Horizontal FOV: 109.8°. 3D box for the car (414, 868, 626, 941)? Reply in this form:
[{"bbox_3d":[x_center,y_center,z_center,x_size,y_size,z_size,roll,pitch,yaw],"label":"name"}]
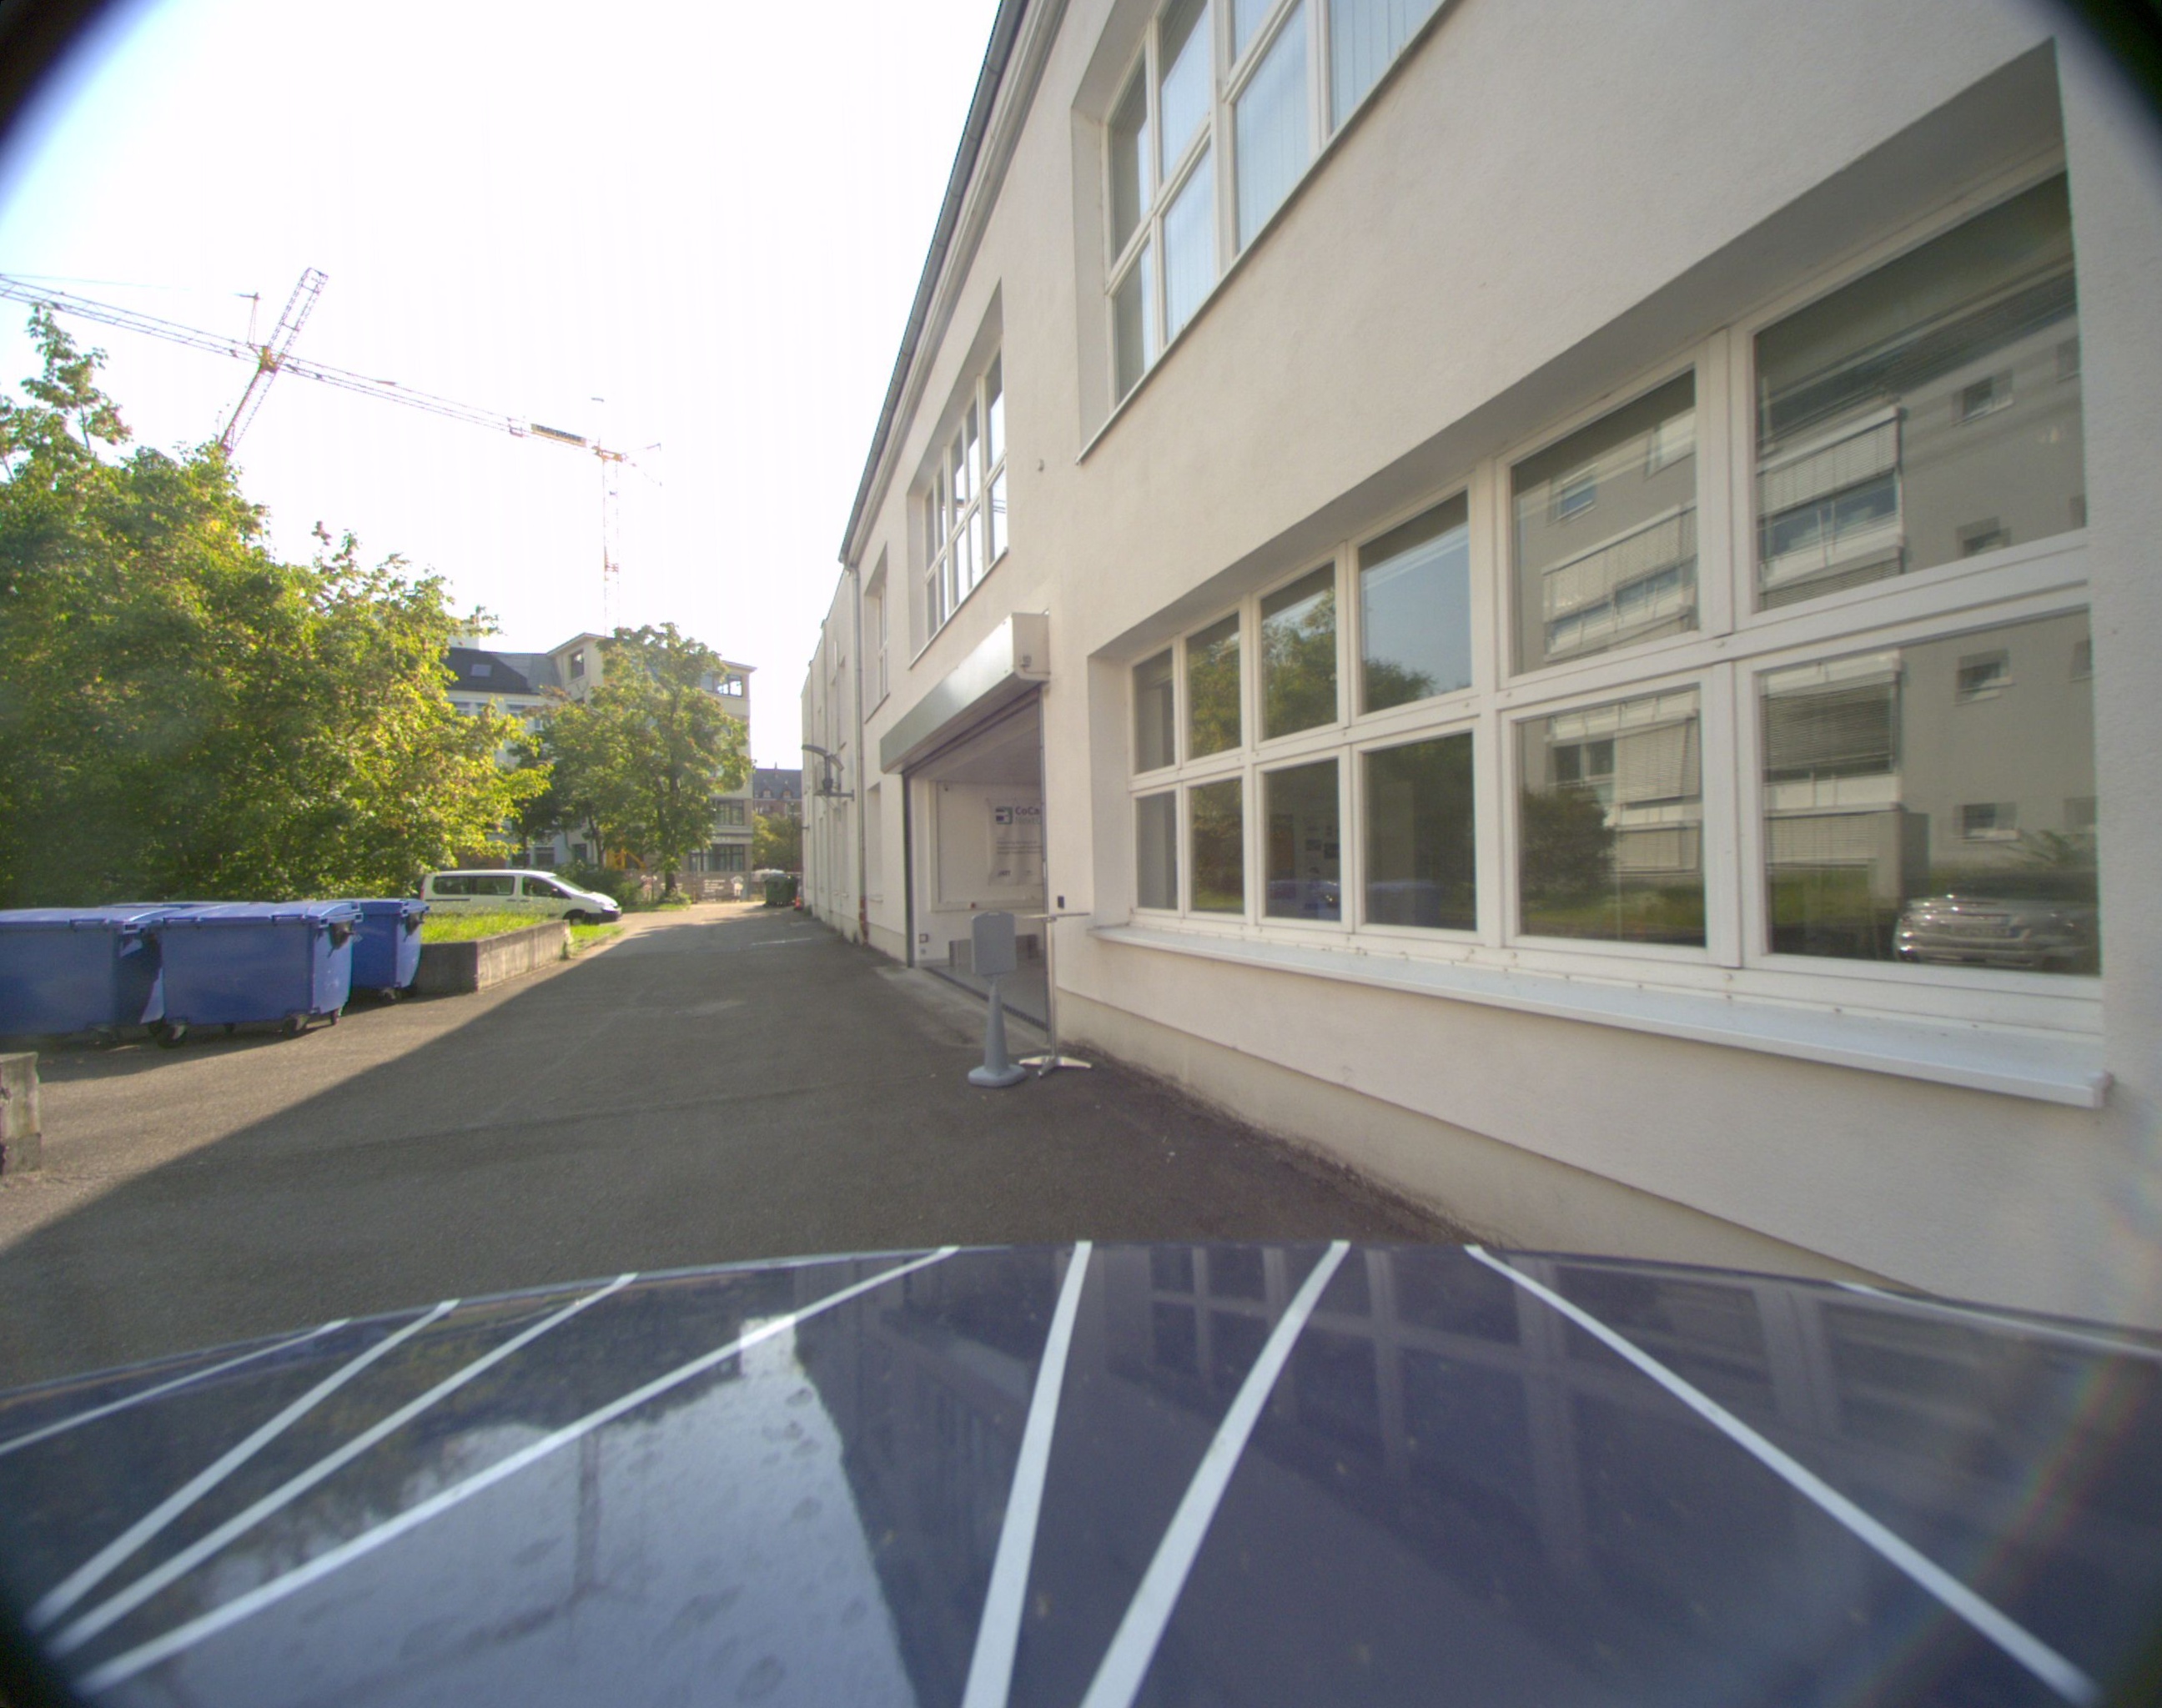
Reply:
[{"bbox_3d":[-16.659,1.438,22.898,4.799,1.920,1.906,-1,-1,-21],"label":"car"}]

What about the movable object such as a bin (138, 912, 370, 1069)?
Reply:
[{"bbox_3d":[-8.486,1.334,7.912,1.216,1.343,1.272,-1,0,-25],"label":"movable object such as a bin"}]

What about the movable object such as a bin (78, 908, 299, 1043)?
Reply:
[{"bbox_3d":[-10.288,1.342,8.863,1.202,1.319,1.273,-1,0,-23],"label":"movable object such as a bin"}]

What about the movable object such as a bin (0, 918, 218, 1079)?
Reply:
[{"bbox_3d":[-9.725,1.350,7.417,1.259,1.319,1.273,-1,0,-23],"label":"movable object such as a bin"}]

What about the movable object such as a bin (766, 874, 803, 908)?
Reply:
[{"bbox_3d":[-13.476,1.656,34.515,1.527,1.457,1.273,-1,0,-23],"label":"movable object such as a bin"}]

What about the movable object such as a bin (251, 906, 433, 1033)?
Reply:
[{"bbox_3d":[-9.013,1.350,9.366,1.202,1.319,1.273,-1,0,-23],"label":"movable object such as a bin"}]
